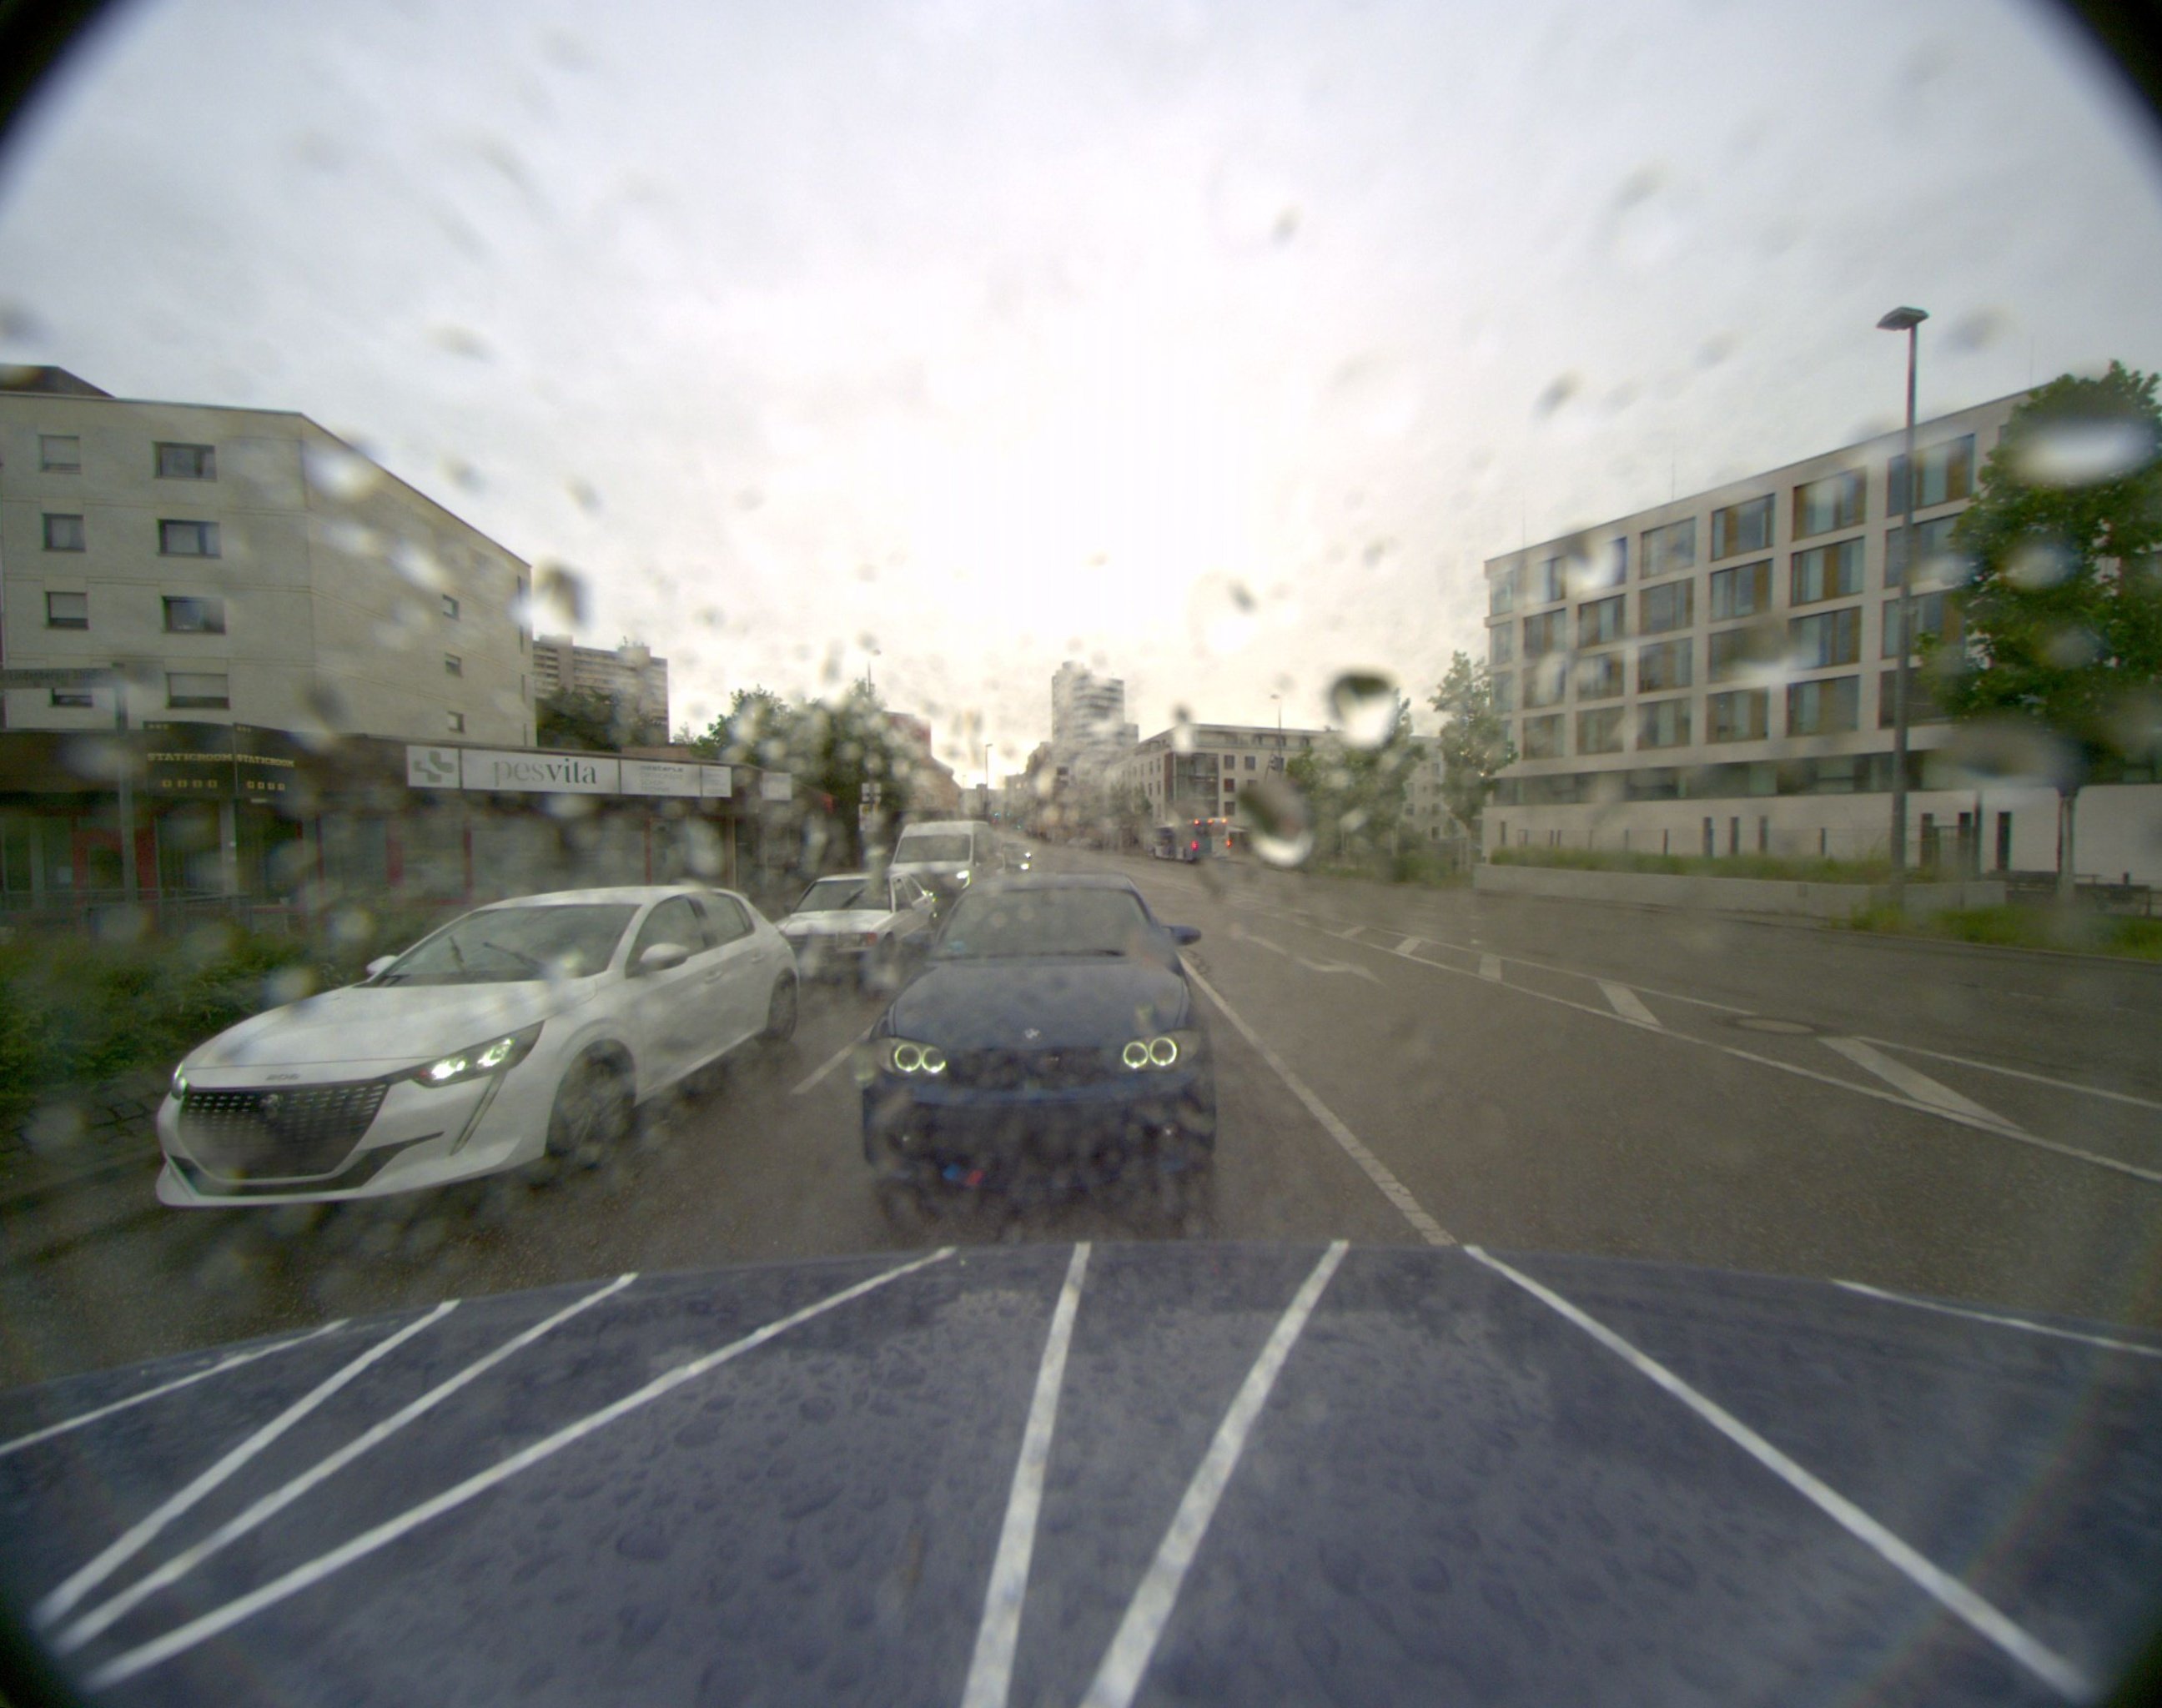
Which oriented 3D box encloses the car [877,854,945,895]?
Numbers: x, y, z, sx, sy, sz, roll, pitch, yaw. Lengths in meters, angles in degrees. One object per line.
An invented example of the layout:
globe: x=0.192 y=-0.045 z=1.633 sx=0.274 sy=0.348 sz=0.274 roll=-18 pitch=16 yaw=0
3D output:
car: x=-6.968 y=0.800 z=31.571 sx=1.788 sy=1.481 sz=4.000 roll=-2 pitch=1 yaw=1

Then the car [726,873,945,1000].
car: x=-3.362 y=1.064 z=11.330 sx=1.788 sy=1.338 sz=4.162 roll=-2 pitch=1 yaw=1

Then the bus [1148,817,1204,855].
bus: x=8.100 y=-1.511 z=65.885 sx=2.800 sy=3.096 sz=8.877 roll=-1 pitch=1 yaw=-6

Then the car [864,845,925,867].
car: x=-12.975 y=0.117 z=53.069 sx=4.000 sy=1.419 sz=1.882 roll=-1 pitch=1 yaw=-10

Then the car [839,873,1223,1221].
car: x=-0.268 y=0.923 z=5.438 sx=1.693 sy=1.380 sz=3.999 roll=-2 pitch=1 yaw=-1

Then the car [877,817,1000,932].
car: x=-3.483 y=0.390 z=19.917 sx=2.197 sy=2.503 sz=6.120 roll=-1 pitch=1 yaw=-2

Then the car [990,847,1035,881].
car: x=-3.450 y=0.466 z=39.024 sx=1.999 sy=1.559 sz=3.998 roll=-2 pitch=1 yaw=-1

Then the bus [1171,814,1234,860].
bus: x=8.901 y=-1.218 z=56.736 sx=2.784 sy=3.096 sz=9.364 roll=-1 pitch=1 yaw=-3

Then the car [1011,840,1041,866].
car: x=-4.355 y=-0.107 z=60.414 sx=1.998 sy=2.002 sz=3.999 roll=0 pitch=1 yaw=1

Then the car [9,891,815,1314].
car: x=-3.376 y=1.091 z=5.078 sx=1.666 sy=1.407 sz=4.114 roll=-2 pitch=1 yaw=1

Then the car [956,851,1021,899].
car: x=-3.328 y=0.724 z=28.049 sx=1.803 sy=1.530 sz=3.999 roll=-2 pitch=1 yaw=1

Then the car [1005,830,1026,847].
car: x=-7.108 y=-1.654 z=82.865 sx=1.879 sy=1.745 sz=4.000 roll=1 pitch=0 yaw=1

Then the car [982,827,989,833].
car: x=-26.712 y=-6.745 z=211.469 sx=1.666 sy=1.625 sz=3.801 roll=-2 pitch=1 yaw=-11

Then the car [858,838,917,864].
car: x=-14.096 y=-0.210 z=55.407 sx=4.000 sy=1.769 sz=1.882 roll=-1 pitch=1 yaw=-10
